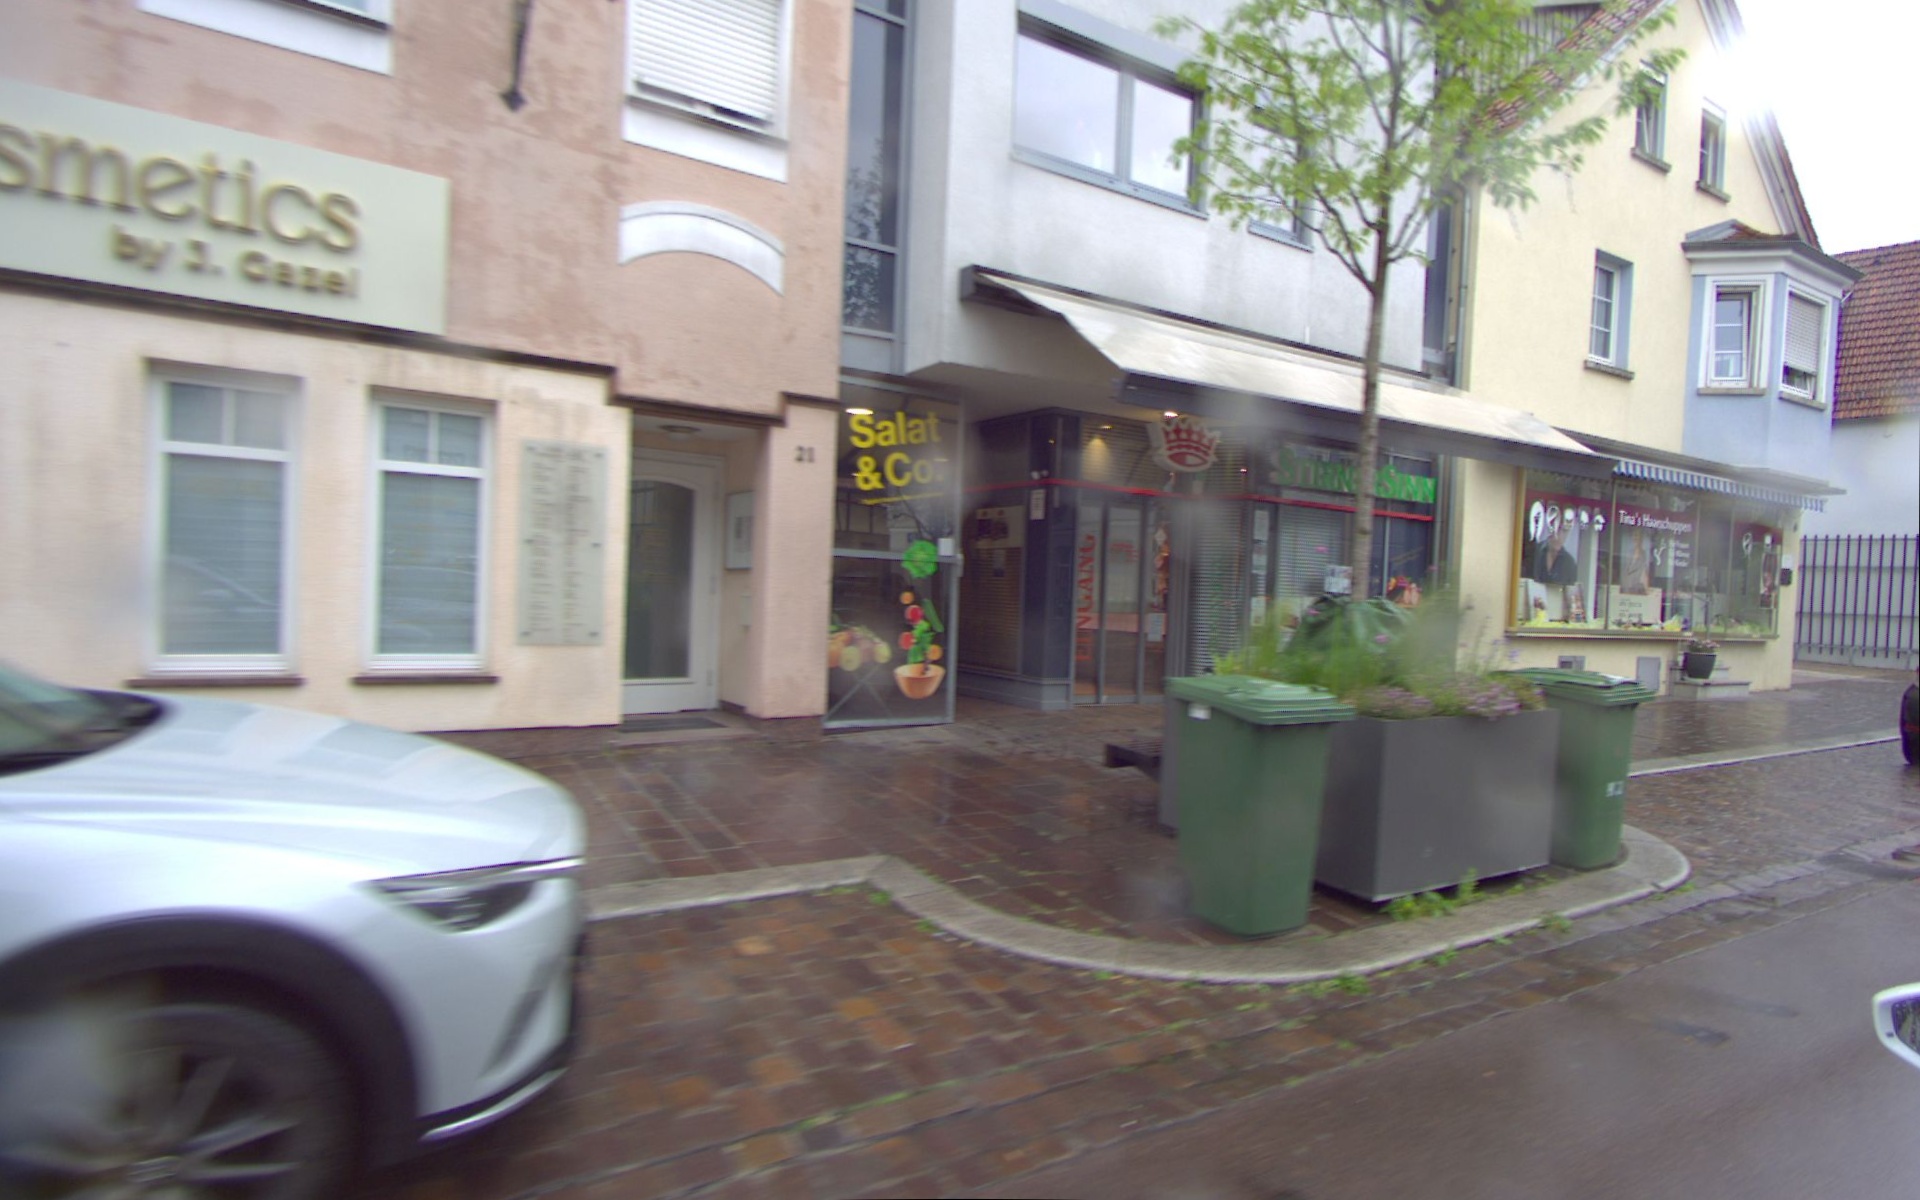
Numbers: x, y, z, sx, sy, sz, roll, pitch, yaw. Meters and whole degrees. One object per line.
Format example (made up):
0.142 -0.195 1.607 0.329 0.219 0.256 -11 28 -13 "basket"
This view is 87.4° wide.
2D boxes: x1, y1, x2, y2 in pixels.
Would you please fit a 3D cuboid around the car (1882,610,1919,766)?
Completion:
11.063 0.878 9.953 3.837 1.463 1.684 0 3 -29 "car"

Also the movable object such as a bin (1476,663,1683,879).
3.538 0.937 5.764 0.696 1.066 0.706 3 2 -29 "movable object such as a bin"

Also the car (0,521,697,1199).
-2.808 0.589 2.148 4.069 1.559 1.684 0 3 -28 "car"

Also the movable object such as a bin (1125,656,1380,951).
1.288 0.850 4.510 0.684 1.099 0.783 3 2 -27 "movable object such as a bin"
